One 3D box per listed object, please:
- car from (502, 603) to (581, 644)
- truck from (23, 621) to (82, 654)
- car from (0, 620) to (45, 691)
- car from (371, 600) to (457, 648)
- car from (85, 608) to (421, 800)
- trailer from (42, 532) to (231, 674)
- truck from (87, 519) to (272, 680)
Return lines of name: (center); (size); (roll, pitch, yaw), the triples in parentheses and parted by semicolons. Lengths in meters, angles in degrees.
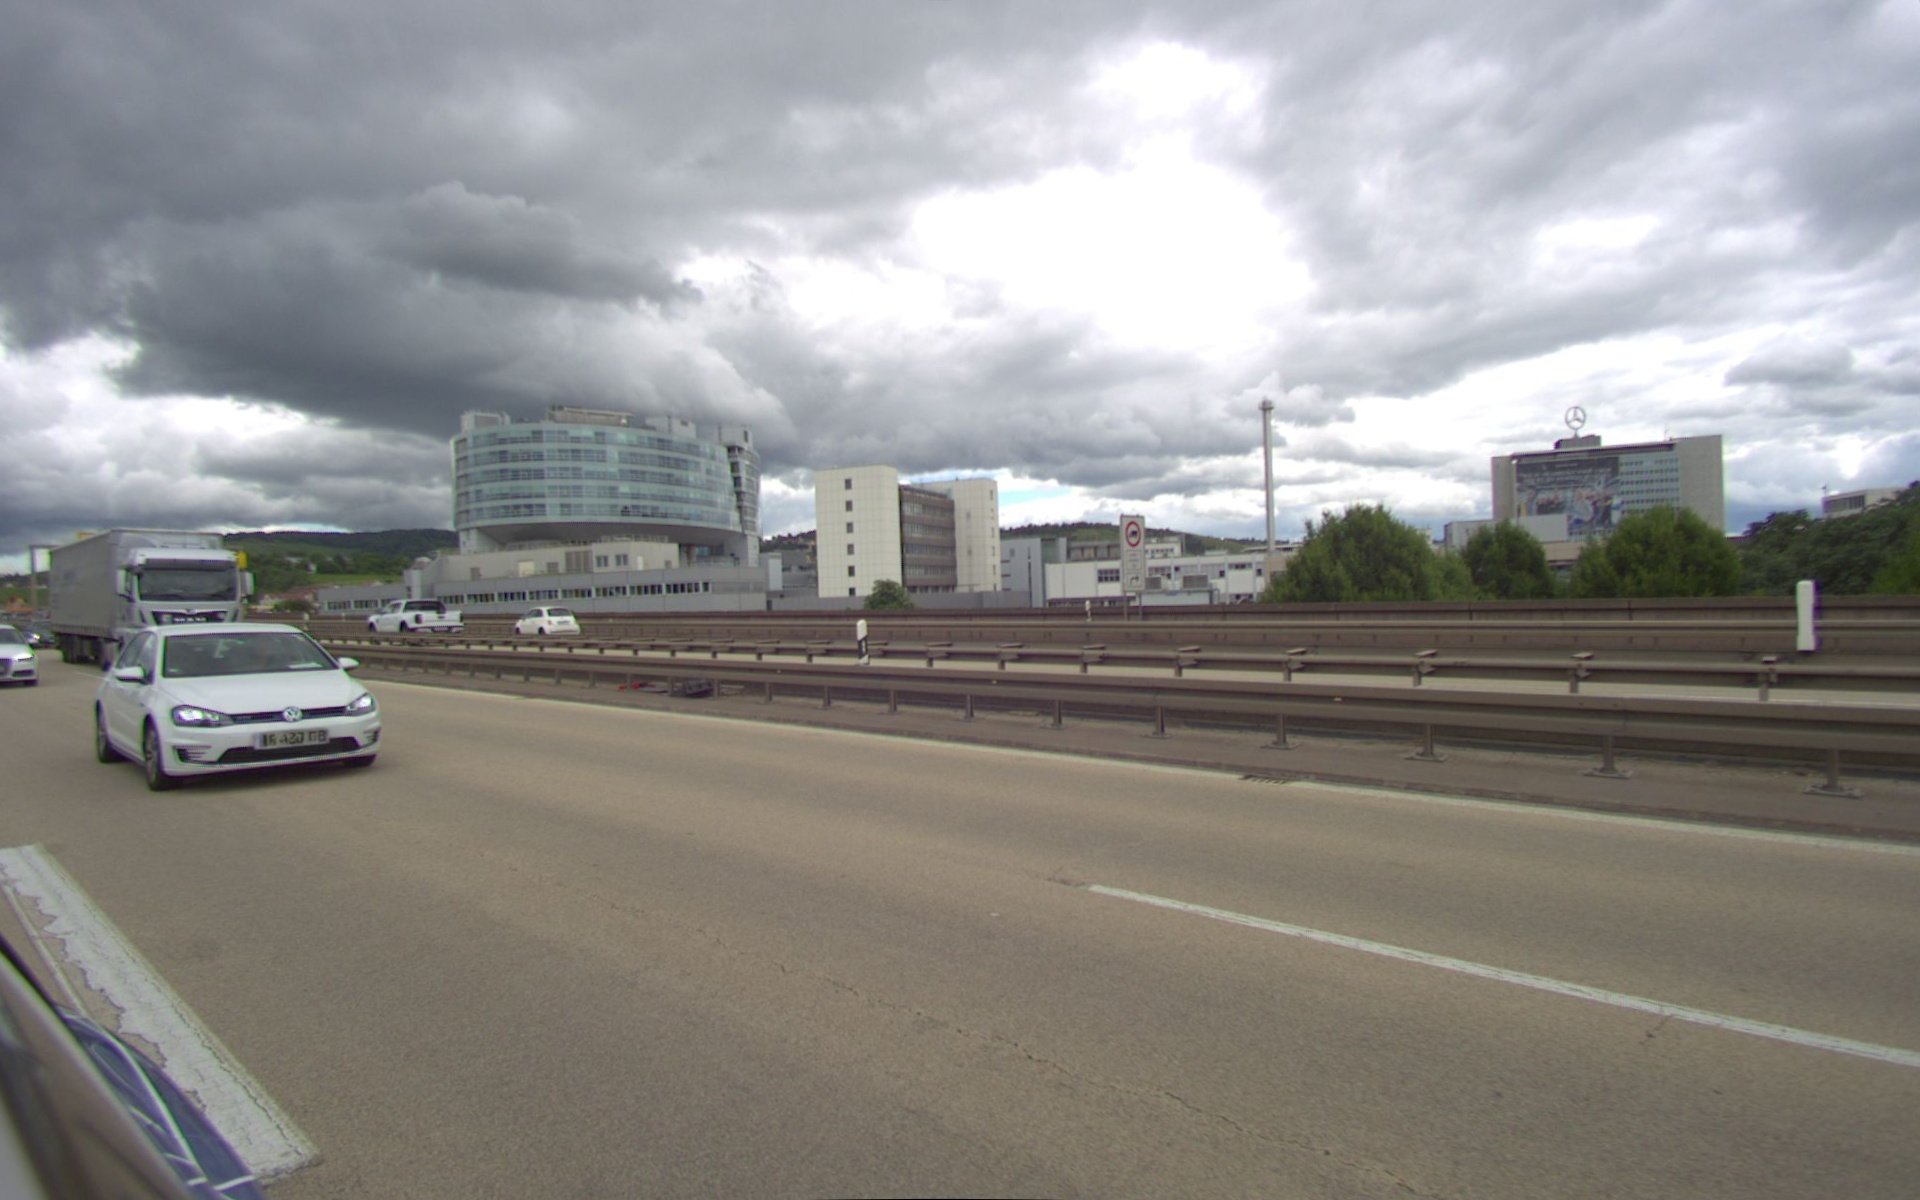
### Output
car: (-18.222, 1.007, 44.031); (3.774, 1.662, 1.665); (-1, 1, 42)
truck: (-44.824, 1.808, 49.989); (3.512, 1.541, 1.806); (-1, 0, 42)
car: (-22.643, 1.264, 23.286); (4.060, 1.519, 1.905); (-1, 1, 42)
car: (-21.494, 0.923, 39.814); (3.774, 1.732, 1.768); (-1, 1, 42)
car: (-7.234, 0.867, 10.200); (4.060, 1.519, 1.905); (-1, 0, 42)
trailer: (-27.938, 0.111, 34.006); (11.763, 4.056, 3.148); (-1, 1, 43)
truck: (-22.218, -0.033, 28.726); (5.687, 4.067, 3.101); (-1, 1, 42)
